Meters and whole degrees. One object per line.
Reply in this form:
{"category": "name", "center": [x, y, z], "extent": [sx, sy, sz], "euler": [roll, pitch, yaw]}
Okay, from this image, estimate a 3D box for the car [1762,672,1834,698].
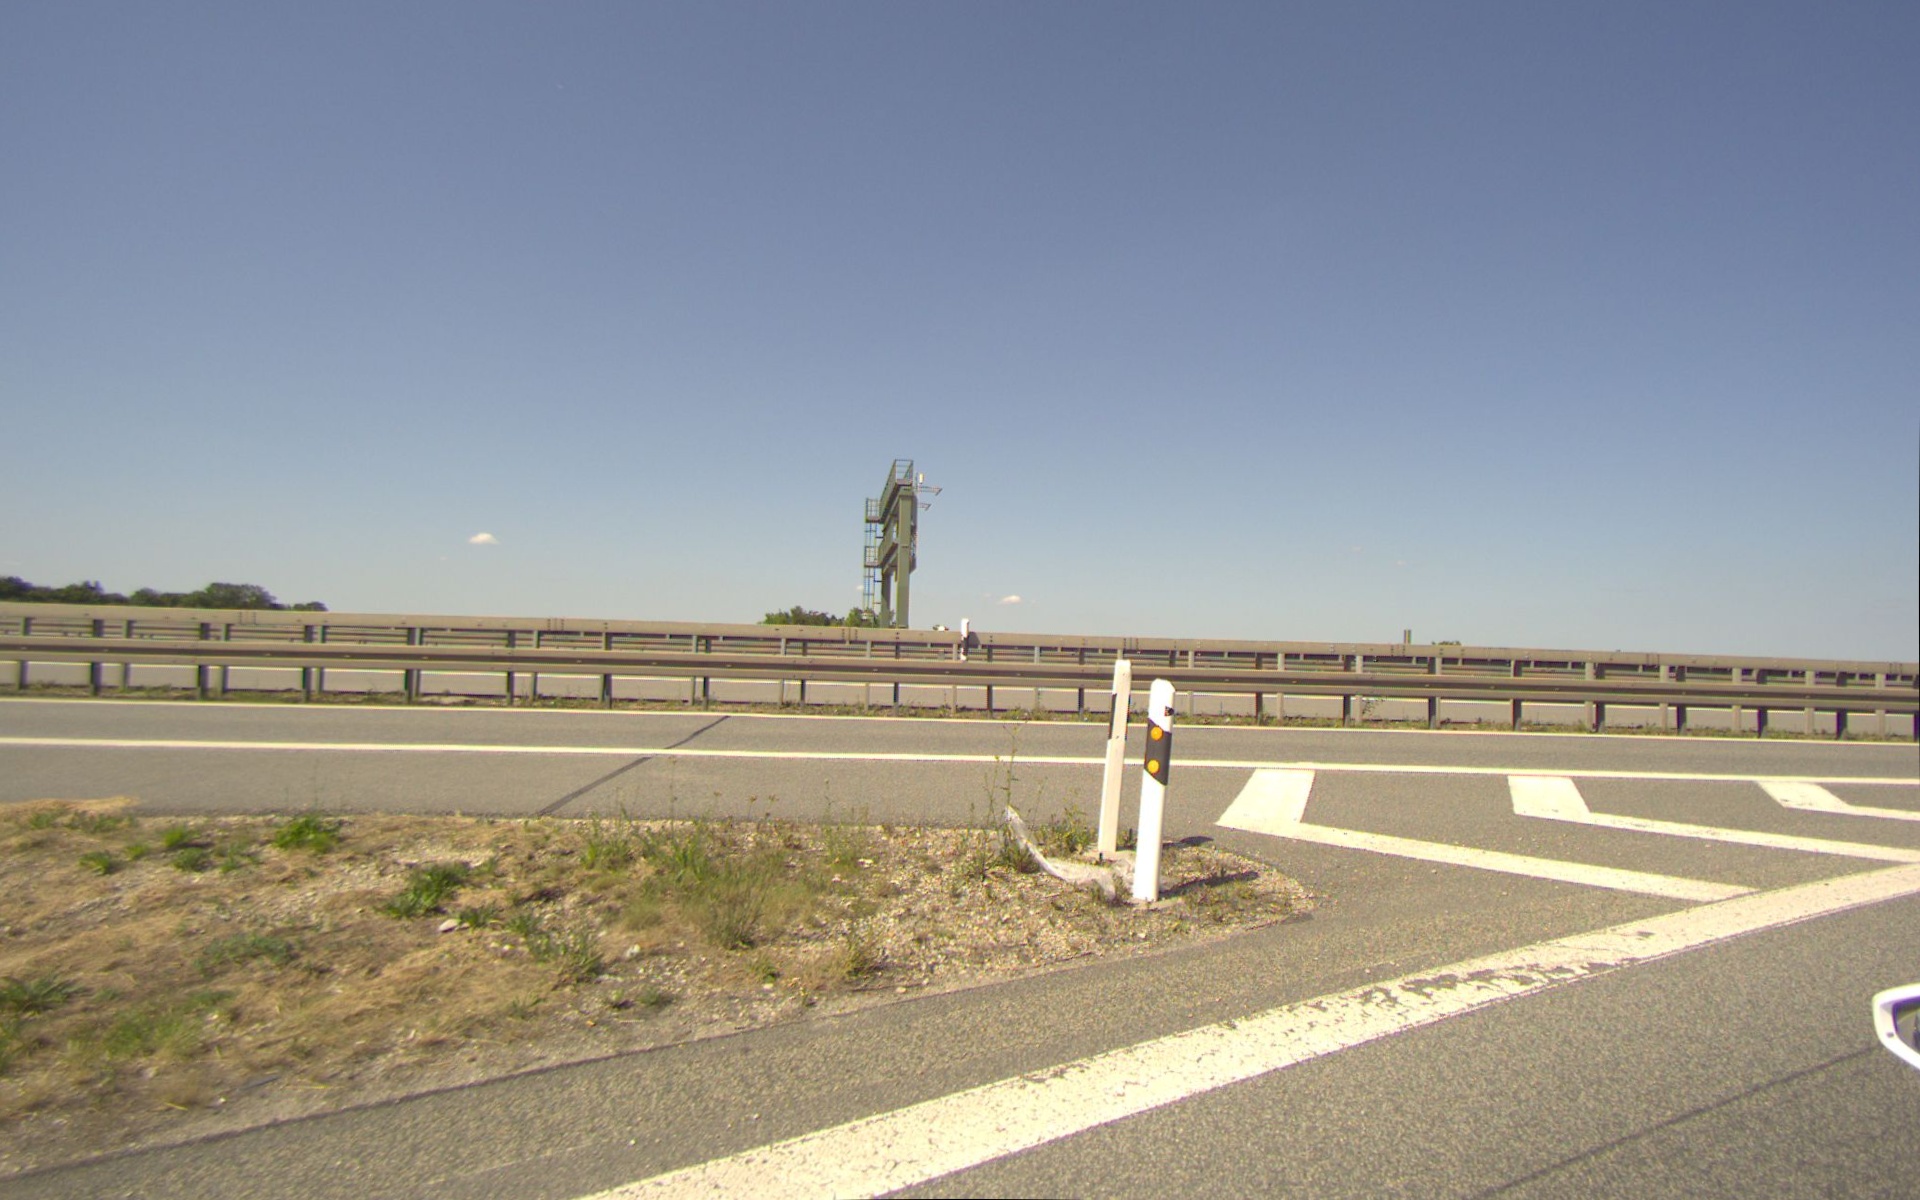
{"category": "car", "center": [54.716, 5.533, 65.611], "extent": [3.549, 1.374, 1.628], "euler": [5, -3, -6]}
